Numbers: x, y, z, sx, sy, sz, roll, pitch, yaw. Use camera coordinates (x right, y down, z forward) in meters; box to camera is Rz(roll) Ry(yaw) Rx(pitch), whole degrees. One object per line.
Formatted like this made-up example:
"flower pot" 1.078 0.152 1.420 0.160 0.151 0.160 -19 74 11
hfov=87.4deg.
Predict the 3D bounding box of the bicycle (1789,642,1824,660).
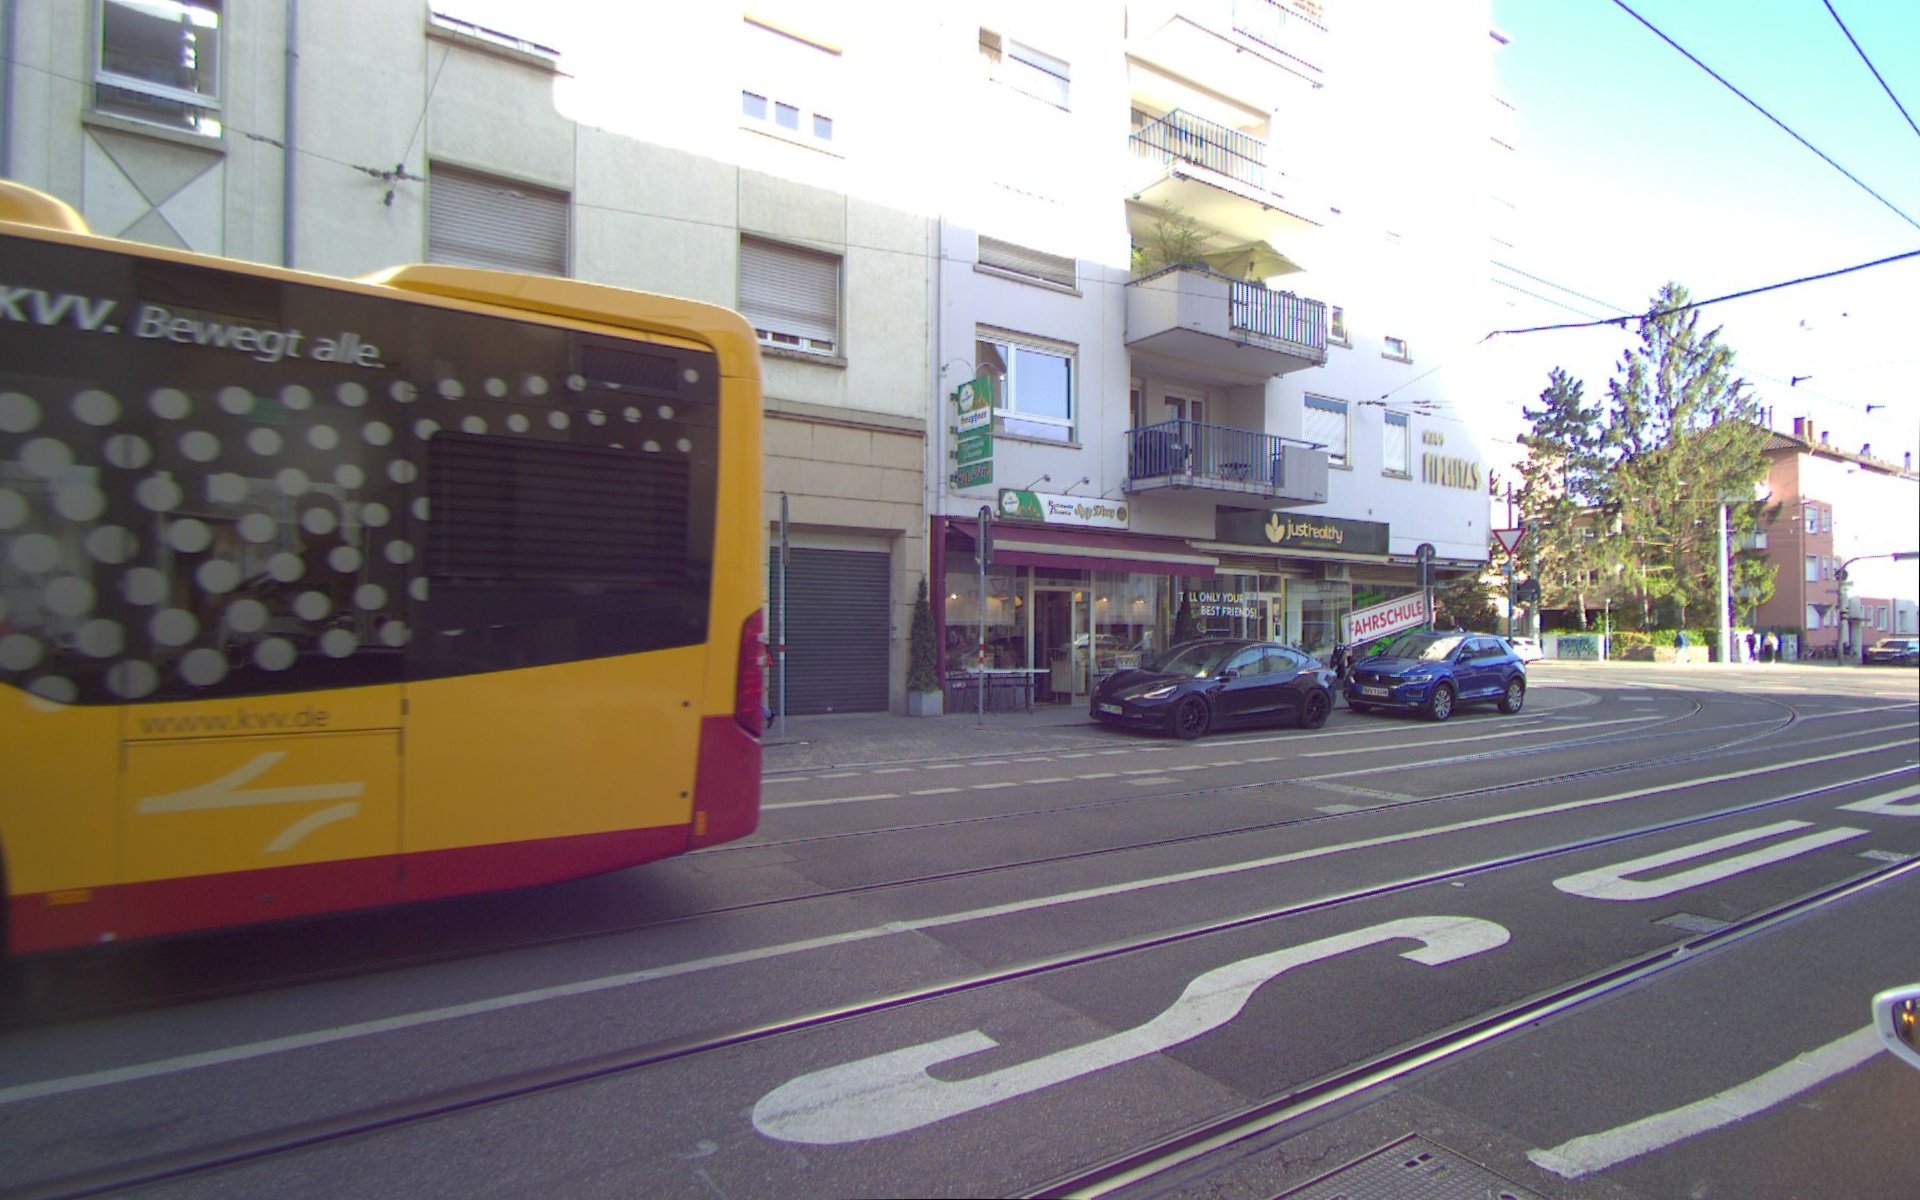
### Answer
"bicycle" 47.051 2.805 55.844 2.568 0.964 0.729 1 -2 -32

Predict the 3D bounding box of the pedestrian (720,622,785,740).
"pedestrian" -2.873 1.090 13.888 0.713 1.569 0.694 0 -1 -30

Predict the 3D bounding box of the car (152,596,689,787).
"car" -5.096 0.795 9.954 4.341 1.529 1.689 2 -1 -34

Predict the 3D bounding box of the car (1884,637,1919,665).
"car" 54.253 2.853 56.943 3.959 1.517 1.899 1 -2 -34

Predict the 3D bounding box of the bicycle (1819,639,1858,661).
"bicycle" 51.935 2.930 59.361 3.267 1.241 0.844 1 -2 -32

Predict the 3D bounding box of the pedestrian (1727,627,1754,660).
"pedestrian" 40.567 2.265 52.212 0.728 1.713 0.841 1 -1 -27

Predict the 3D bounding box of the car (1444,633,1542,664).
"car" 28.710 2.607 54.171 1.843 1.594 4.345 2 -2 -43

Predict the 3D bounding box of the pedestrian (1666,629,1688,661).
"pedestrian" 37.263 2.338 52.199 0.835 1.647 0.515 -1 -2 27

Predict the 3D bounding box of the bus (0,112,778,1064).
"bus" -4.746 -0.034 3.982 7.500 3.203 2.721 1 -2 -34

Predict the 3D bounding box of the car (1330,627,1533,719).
"car" 8.992 1.325 19.074 3.959 1.529 1.733 2 -1 -35

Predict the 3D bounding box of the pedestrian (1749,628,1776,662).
"pedestrian" 41.027 2.271 51.358 0.728 1.713 0.841 1 -1 -27

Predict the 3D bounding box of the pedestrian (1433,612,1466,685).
"pedestrian" 13.974 1.377 28.681 0.480 2.040 0.683 1 -1 -30

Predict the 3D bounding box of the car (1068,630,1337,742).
"car" 3.924 1.299 16.018 4.266 1.529 1.689 2 -1 -33

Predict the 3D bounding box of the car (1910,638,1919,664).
"car" 58.081 2.997 59.456 3.959 1.517 1.899 1 -2 -34

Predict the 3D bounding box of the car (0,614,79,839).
"car" -9.117 0.891 7.045 4.202 1.637 1.688 2 -1 -36

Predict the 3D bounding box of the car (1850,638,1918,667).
"car" 49.516 2.786 53.817 3.961 1.452 1.898 1 -2 -36
